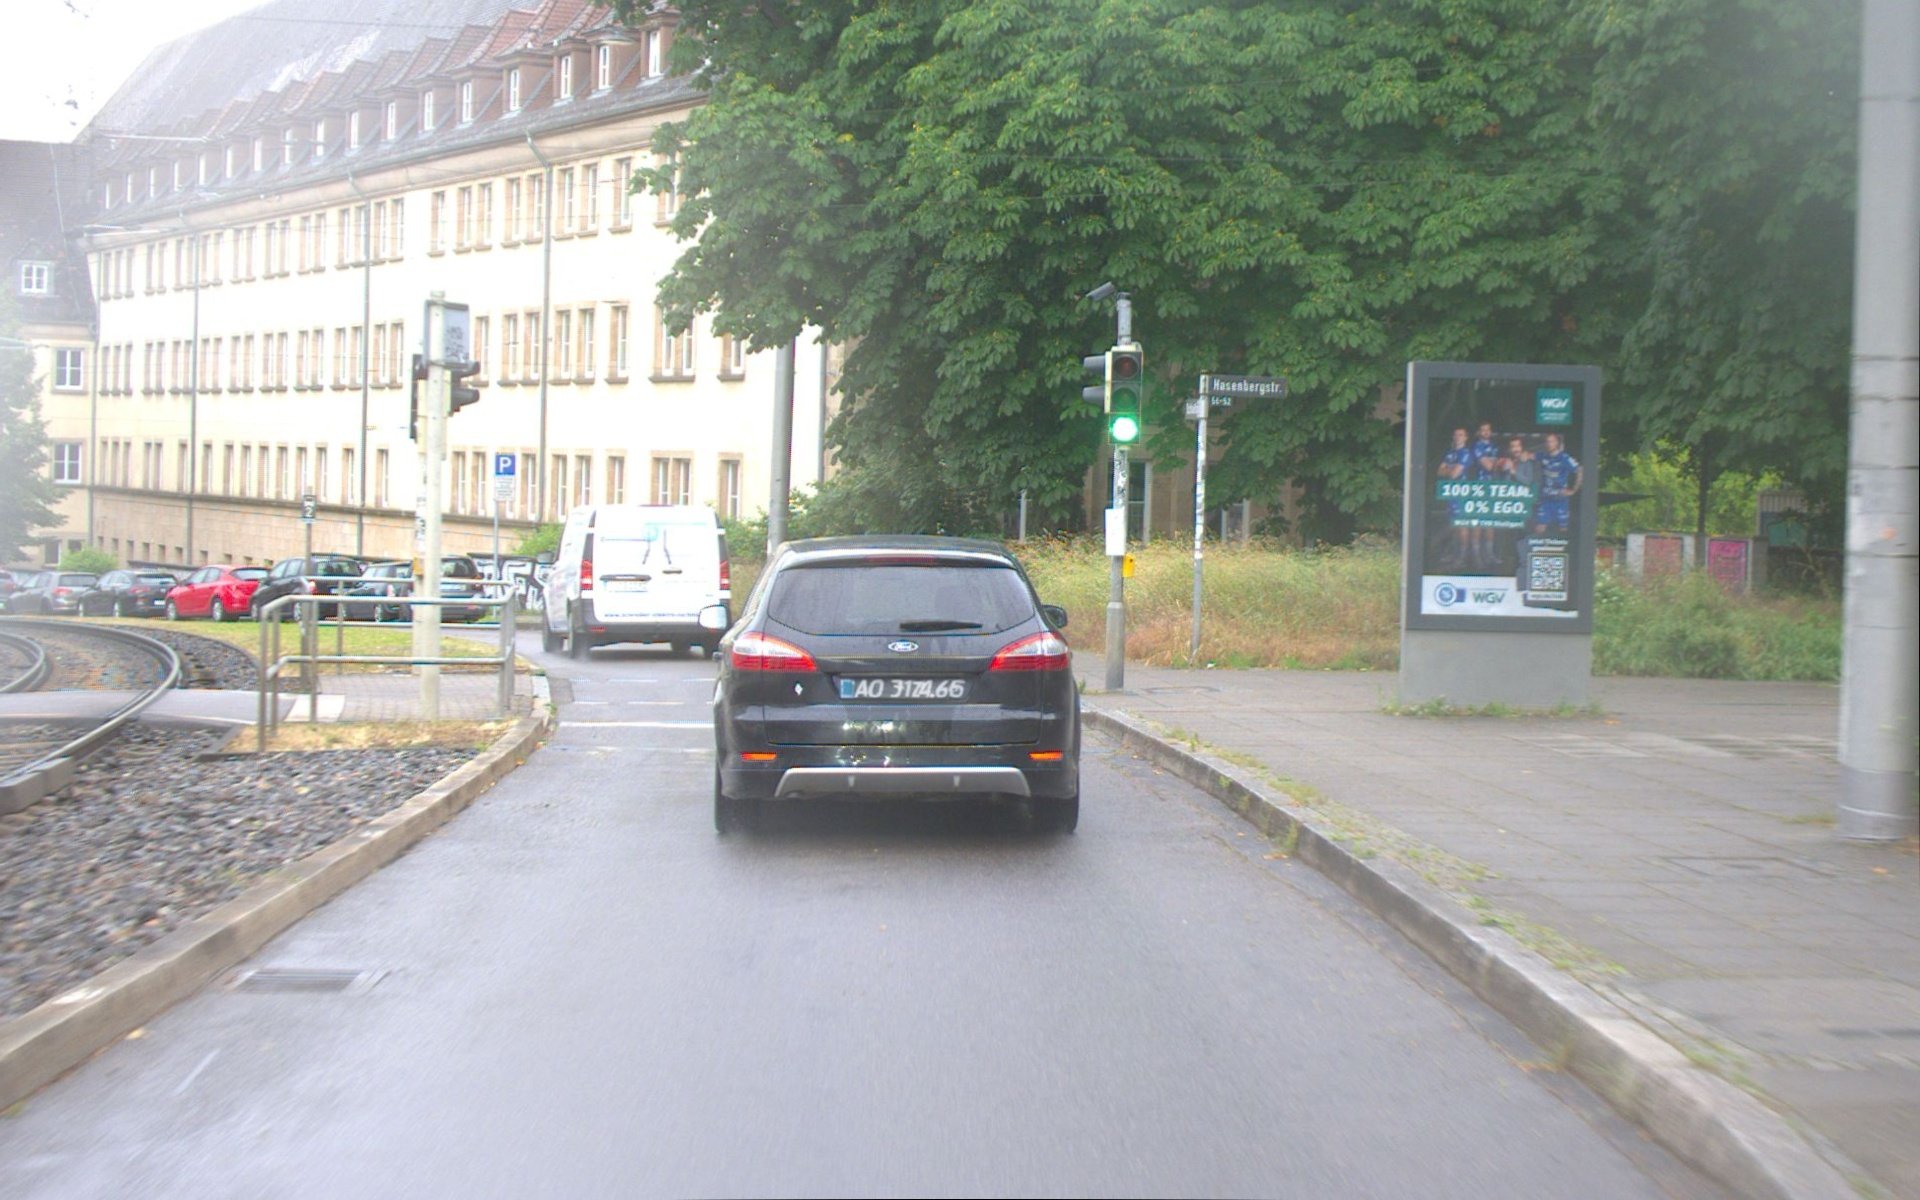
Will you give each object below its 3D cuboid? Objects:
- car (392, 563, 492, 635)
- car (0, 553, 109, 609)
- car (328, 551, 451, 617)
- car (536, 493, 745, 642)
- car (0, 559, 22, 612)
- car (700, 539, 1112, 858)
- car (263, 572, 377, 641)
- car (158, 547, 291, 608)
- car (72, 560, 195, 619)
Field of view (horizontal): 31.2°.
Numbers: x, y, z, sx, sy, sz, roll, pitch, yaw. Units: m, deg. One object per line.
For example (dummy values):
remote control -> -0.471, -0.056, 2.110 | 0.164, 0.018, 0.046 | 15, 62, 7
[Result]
car -> -11.008, -0.040, 72.979 | 1.597, 1.460, 2.721 | -1, 1, -19
car -> -25.225, -0.528, 95.370 | 1.666, 1.471, 4.108 | -2, 1, -36
car -> -12.736, -0.371, 76.604 | 1.536, 1.411, 3.644 | -2, 1, -29
car -> -4.010, -0.428, 42.555 | 2.136, 1.739, 4.219 | -1, 1, -11
car -> -28.797, -0.416, 100.020 | 1.666, 1.519, 4.108 | -2, 1, -34
car -> -0.271, 0.426, 18.088 | 1.920, 1.474, 4.000 | 0, 1, 0
car -> -15.224, 0.136, 81.637 | 1.665, 1.567, 3.856 | -2, 1, -26
car -> -18.491, -0.556, 86.312 | 1.666, 1.471, 4.065 | 1, 0, -38
car -> -21.784, -0.287, 90.515 | 1.666, 1.471, 4.457 | -2, 1, -34
